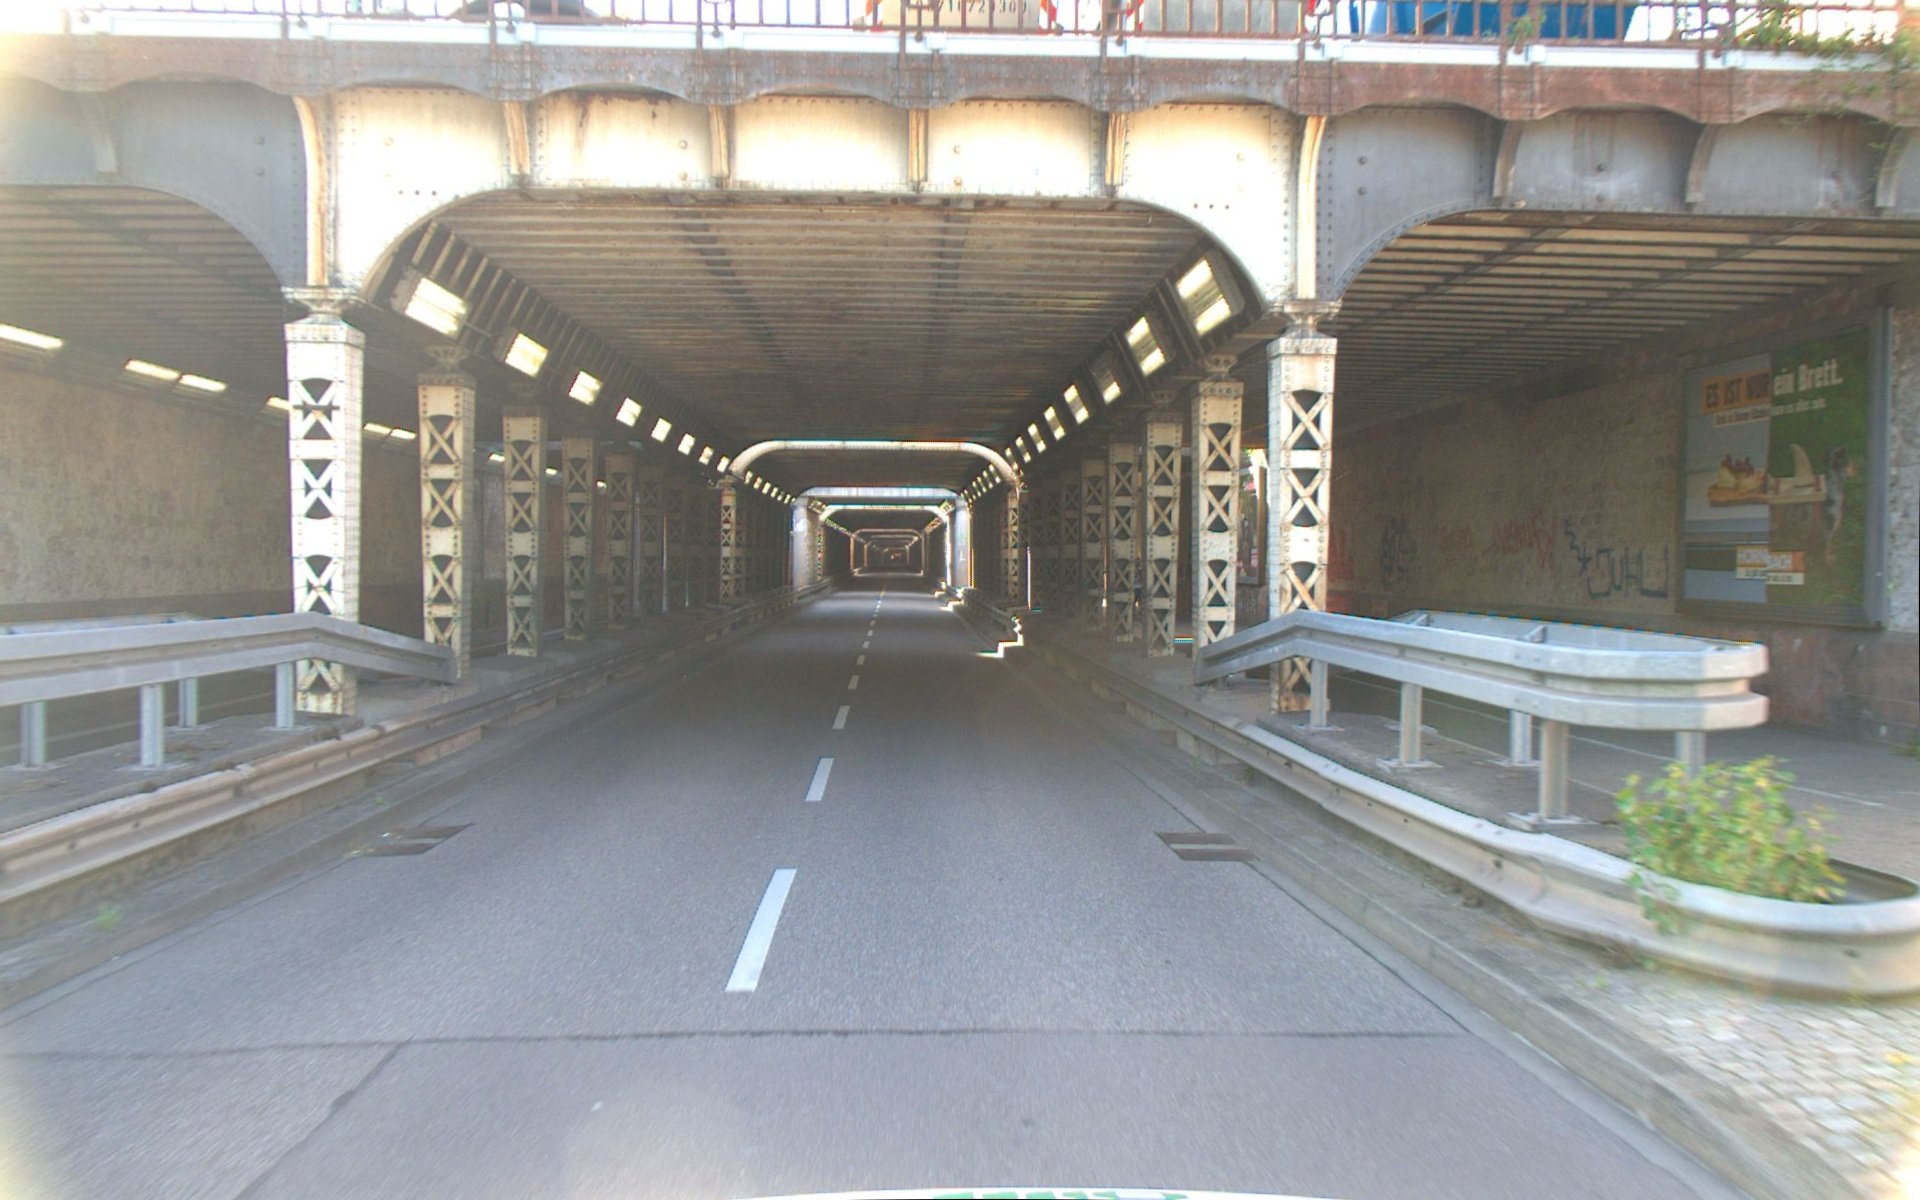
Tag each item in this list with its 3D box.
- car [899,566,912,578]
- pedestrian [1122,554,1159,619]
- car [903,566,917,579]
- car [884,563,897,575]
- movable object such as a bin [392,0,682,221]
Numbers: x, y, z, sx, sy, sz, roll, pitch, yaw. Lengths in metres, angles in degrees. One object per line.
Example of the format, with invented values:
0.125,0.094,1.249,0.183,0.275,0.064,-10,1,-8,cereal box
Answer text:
-8.050,-4.149,245.575,1.953,1.815,3.999,0,1,-2,car
5.326,-0.392,48.774,0.863,1.867,0.922,-2,1,-5,pedestrian
-7.170,-3.977,236.323,1.953,1.815,3.999,0,1,-2,car
-10.514,-4.791,252.052,1.953,1.815,3.999,0,1,-2,car
-4.368,-5.807,17.912,1.953,2.265,4.829,1,0,-1,movable object such as a bin
